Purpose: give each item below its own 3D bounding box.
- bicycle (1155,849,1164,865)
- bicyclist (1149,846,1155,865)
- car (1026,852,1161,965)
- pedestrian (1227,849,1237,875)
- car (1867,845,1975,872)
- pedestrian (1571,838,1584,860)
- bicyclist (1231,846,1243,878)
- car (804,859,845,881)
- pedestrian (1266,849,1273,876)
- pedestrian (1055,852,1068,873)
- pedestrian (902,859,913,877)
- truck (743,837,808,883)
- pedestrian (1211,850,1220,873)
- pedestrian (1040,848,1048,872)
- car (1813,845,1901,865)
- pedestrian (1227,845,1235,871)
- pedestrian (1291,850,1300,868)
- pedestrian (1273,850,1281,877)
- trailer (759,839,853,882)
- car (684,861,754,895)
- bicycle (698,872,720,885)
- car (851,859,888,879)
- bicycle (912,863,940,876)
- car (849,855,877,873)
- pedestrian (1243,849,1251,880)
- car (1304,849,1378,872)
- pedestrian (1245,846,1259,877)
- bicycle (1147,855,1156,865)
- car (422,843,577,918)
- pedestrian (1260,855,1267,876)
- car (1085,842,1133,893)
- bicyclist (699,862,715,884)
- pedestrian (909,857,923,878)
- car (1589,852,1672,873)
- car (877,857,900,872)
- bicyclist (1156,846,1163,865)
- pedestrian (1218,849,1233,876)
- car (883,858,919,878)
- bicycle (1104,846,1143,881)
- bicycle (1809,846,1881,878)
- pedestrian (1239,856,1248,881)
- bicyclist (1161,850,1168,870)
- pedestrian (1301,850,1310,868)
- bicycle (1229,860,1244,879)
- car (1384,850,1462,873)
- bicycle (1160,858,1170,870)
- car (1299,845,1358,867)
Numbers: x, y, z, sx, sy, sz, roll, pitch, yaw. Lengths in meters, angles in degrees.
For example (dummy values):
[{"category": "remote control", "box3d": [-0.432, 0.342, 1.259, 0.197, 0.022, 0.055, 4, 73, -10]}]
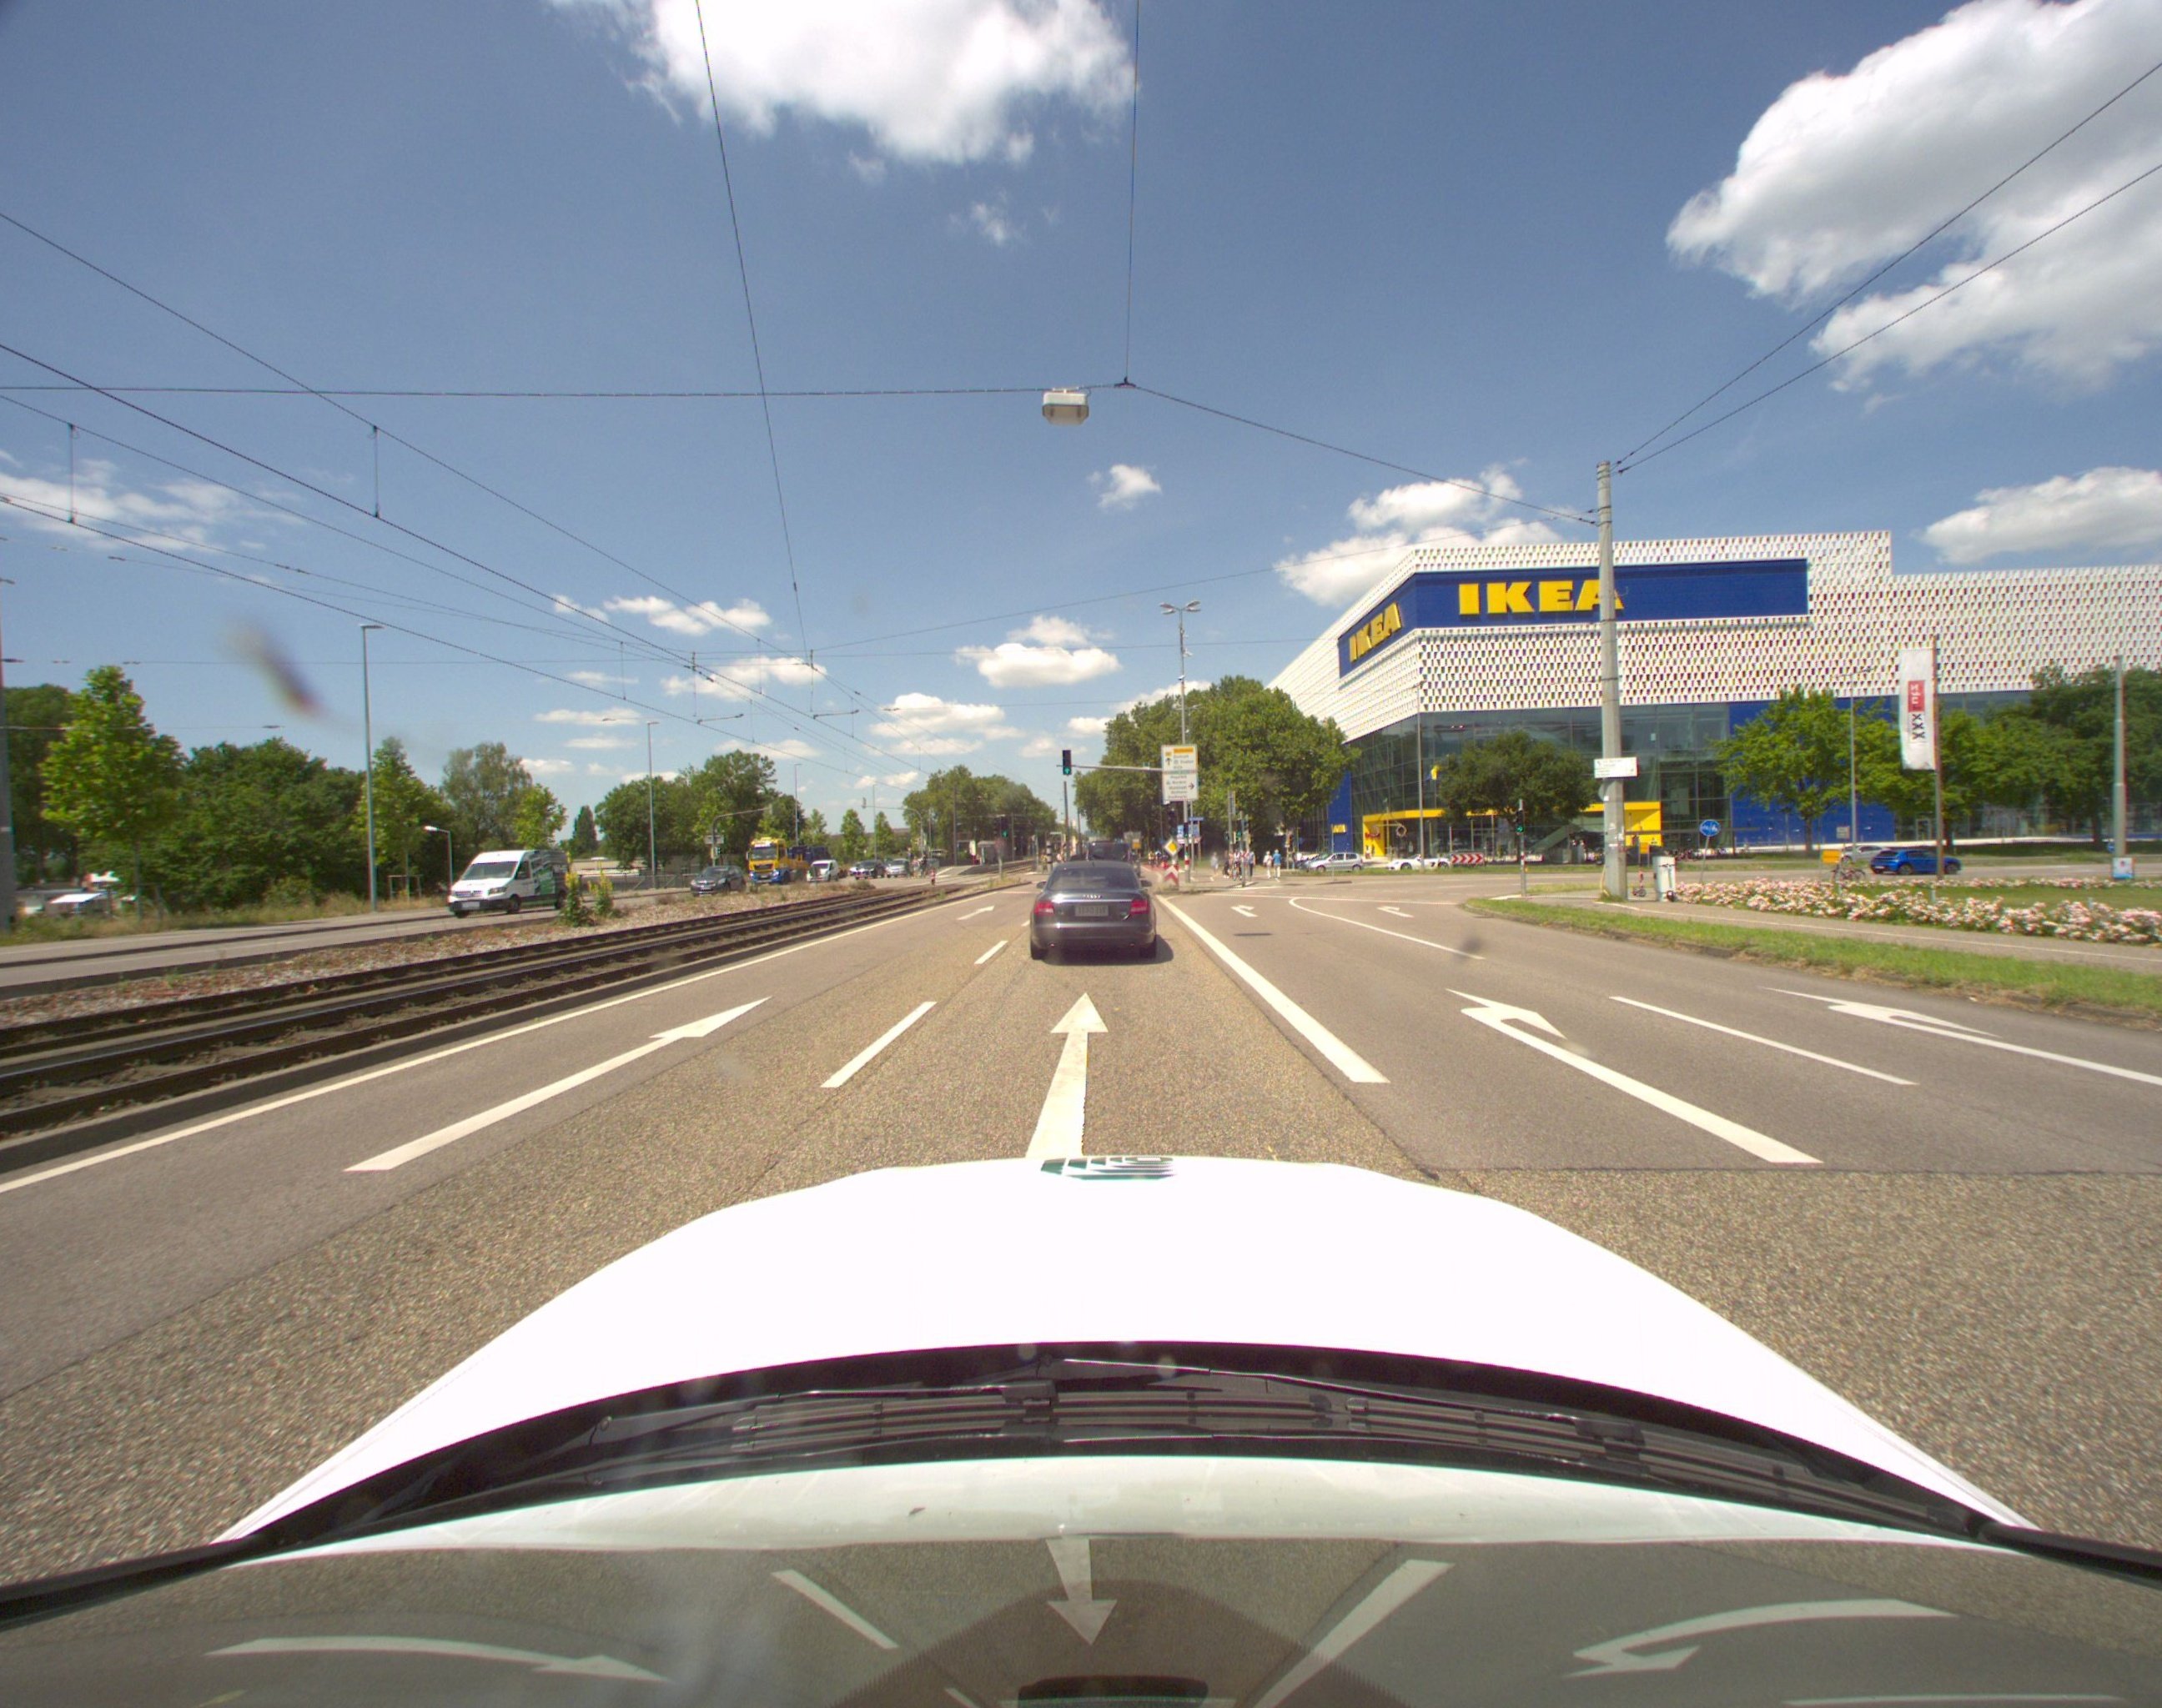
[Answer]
[{"category": "bicycle", "box3d": [7.828, 0.285, 81.373, 0.685, 1.519, 2.753, -1, 0, 2]}, {"category": "bicyclist", "box3d": [6.752, 0.190, 77.650, 0.526, 1.789, 1.088, -1, 0, 2]}, {"category": "car", "box3d": [0.232, 0.728, 12.918, 1.786, 1.455, 4.002, -1, 0, 2]}, {"category": "pedestrian", "box3d": [9.607, 0.517, 51.877, 0.551, 1.635, 0.433, -1, 0, 4]}, {"category": "car", "box3d": [47.495, 0.249, 46.140, 3.963, 1.454, 1.848, 0, 0, 9]}, {"category": "pedestrian", "box3d": [46.328, -0.477, 76.013, 0.707, 2.013, 0.825, -1, 0, 4]}, {"category": "bicyclist", "box3d": [8.818, 0.452, 46.033, 0.525, 1.764, 0.831, -1, 0, 15]}, {"category": "car", "box3d": [-21.277, 1.286, 67.669, 1.815, 1.670, 4.465, 0, 0, 3]}, {"category": "pedestrian", "box3d": [11.451, 0.536, 49.533, 0.319, 1.635, 0.377, -1, 0, 4]}, {"category": "pedestrian", "box3d": [-1.492, 0.641, 62.564, 0.734, 1.555, 0.612, -1, 0, 39]}, {"category": "pedestrian", "box3d": [-13.865, 1.105, 65.090, 0.683, 1.443, 0.572, -1, 0, -2]}, {"category": "truck", "box3d": [-25.015, 0.503, 67.116, 2.757, 3.569, 6.442, -1, 0, 1]}, {"category": "pedestrian", "box3d": [8.825, 0.491, 53.459, 0.490, 1.520, 0.710, -1, 0, 19]}, {"category": "pedestrian", "box3d": [-3.140, 0.490, 68.906, 0.683, 2.014, 0.572, -1, -1, -3]}, {"category": "car", "box3d": [57.566, 0.067, 60.478, 4.476, 1.486, 2.003, 0, 0, 5]}, {"category": "pedestrian", "box3d": [9.539, 0.238, 51.826, 0.443, 1.635, 0.430, -1, 0, 4]}, {"category": "pedestrian", "box3d": [19.079, 0.461, 72.391, 0.698, 1.544, 0.681, -1, 0, 20]}, {"category": "pedestrian", "box3d": [11.909, 0.553, 49.508, 0.396, 1.635, 0.371, -1, 0, 4]}, {"category": "trailer", "box3d": [-24.808, 0.550, 74.834, 2.757, 3.518, 15.883, -1, 0, 2]}, {"category": "car", "box3d": [-19.314, 1.230, 43.669, 1.817, 1.670, 4.459, 0, 0, -1]}, {"category": "bicycle", "box3d": [-29.467, 1.972, 64.555, 1.487, 0.987, 0.485, -1, 0, -3]}, {"category": "car", "box3d": [-18.605, 1.319, 71.828, 1.814, 1.670, 4.467, 0, 0, 4]}, {"category": "bicycle", "box3d": [-12.216, 1.219, 64.253, 2.055, 0.925, 0.751, -1, 0, -9]}, {"category": "car", "box3d": [-24.180, 1.088, 90.479, 1.795, 1.818, 4.002, -1, 0, 2]}, {"category": "pedestrian", "box3d": [8.727, 0.563, 42.829, 0.379, 1.635, 0.377, -1, 0, 4]}, {"category": "car", "box3d": [17.588, 0.446, 55.301, 4.476, 1.486, 2.003, 0, 0, 5]}, {"category": "pedestrian", "box3d": [10.345, 0.430, 49.294, 0.678, 1.846, 0.711, -1, 0, 27]}, {"category": "bicycle", "box3d": [6.715, 0.567, 77.590, 0.685, 0.993, 2.753, -1, 0, 2]}, {"category": "car", "box3d": [-23.117, 0.952, 32.824, 2.241, 2.588, 6.219, -4, 1, -7]}, {"category": "pedestrian", "box3d": [11.073, 0.702, 49.512, 0.371, 1.304, 0.365, -1, 0, 4]}, {"category": "car", "box3d": [1.144, 0.527, 33.646, 1.830, 1.950, 4.001, -1, 0, 1]}, {"category": "bicyclist", "box3d": [-29.657, 1.513, 64.588, 1.116, 1.774, 0.340, -1, 0, -3]}, {"category": "pedestrian", "box3d": [-13.716, 1.089, 67.711, 0.816, 1.720, 0.779, -1, 0, 23]}, {"category": "car", "box3d": [39.158, 0.597, 58.127, 4.476, 1.486, 2.003, 0, 0, 5]}, {"category": "car", "box3d": [-23.983, 1.293, 101.610, 1.811, 1.883, 4.001, -1, 0, 1]}, {"category": "bicyclist", "box3d": [7.824, 0.145, 81.154, 0.527, 1.789, 1.088, -1, 0, 2]}, {"category": "pedestrian", "box3d": [8.810, 0.537, 49.715, 0.706, 1.635, 0.711, -1, 0, 27]}, {"category": "car", "box3d": [-15.859, 1.214, 71.974, 1.814, 1.670, 4.466, 0, 0, 4]}, {"category": "bicycle", "box3d": [2.630, 0.555, 50.113, 1.982, 2.013, 4.010, -1, 0, 9]}, {"category": "bicycle", "box3d": [36.370, 0.389, 38.784, 2.410, 1.481, 0.990, -1, 0, 6]}, {"category": "pedestrian", "box3d": [10.978, 0.956, 54.875, 0.518, 1.670, 0.495, -1, 0, 4]}, {"category": "bicyclist", "box3d": [7.290, 0.515, 71.169, 0.527, 1.676, 1.088, -1, 0, 2]}, {"category": "pedestrian", "box3d": [19.923, 0.425, 72.165, 0.698, 1.635, 0.615, -1, 0, 20]}, {"category": "bicycle", "box3d": [8.806, 0.869, 46.064, 0.654, 1.022, 1.869, -1, 0, 15]}, {"category": "car", "box3d": [23.097, 0.491, 55.092, 4.476, 1.486, 2.003, 0, 0, 5]}, {"category": "bicycle", "box3d": [7.277, 0.849, 71.033, 0.685, 1.006, 2.753, -1, 0, 2]}, {"category": "car", "box3d": [17.754, 0.144, 58.577, 3.771, 1.486, 2.003, 0, 0, 5]}]
